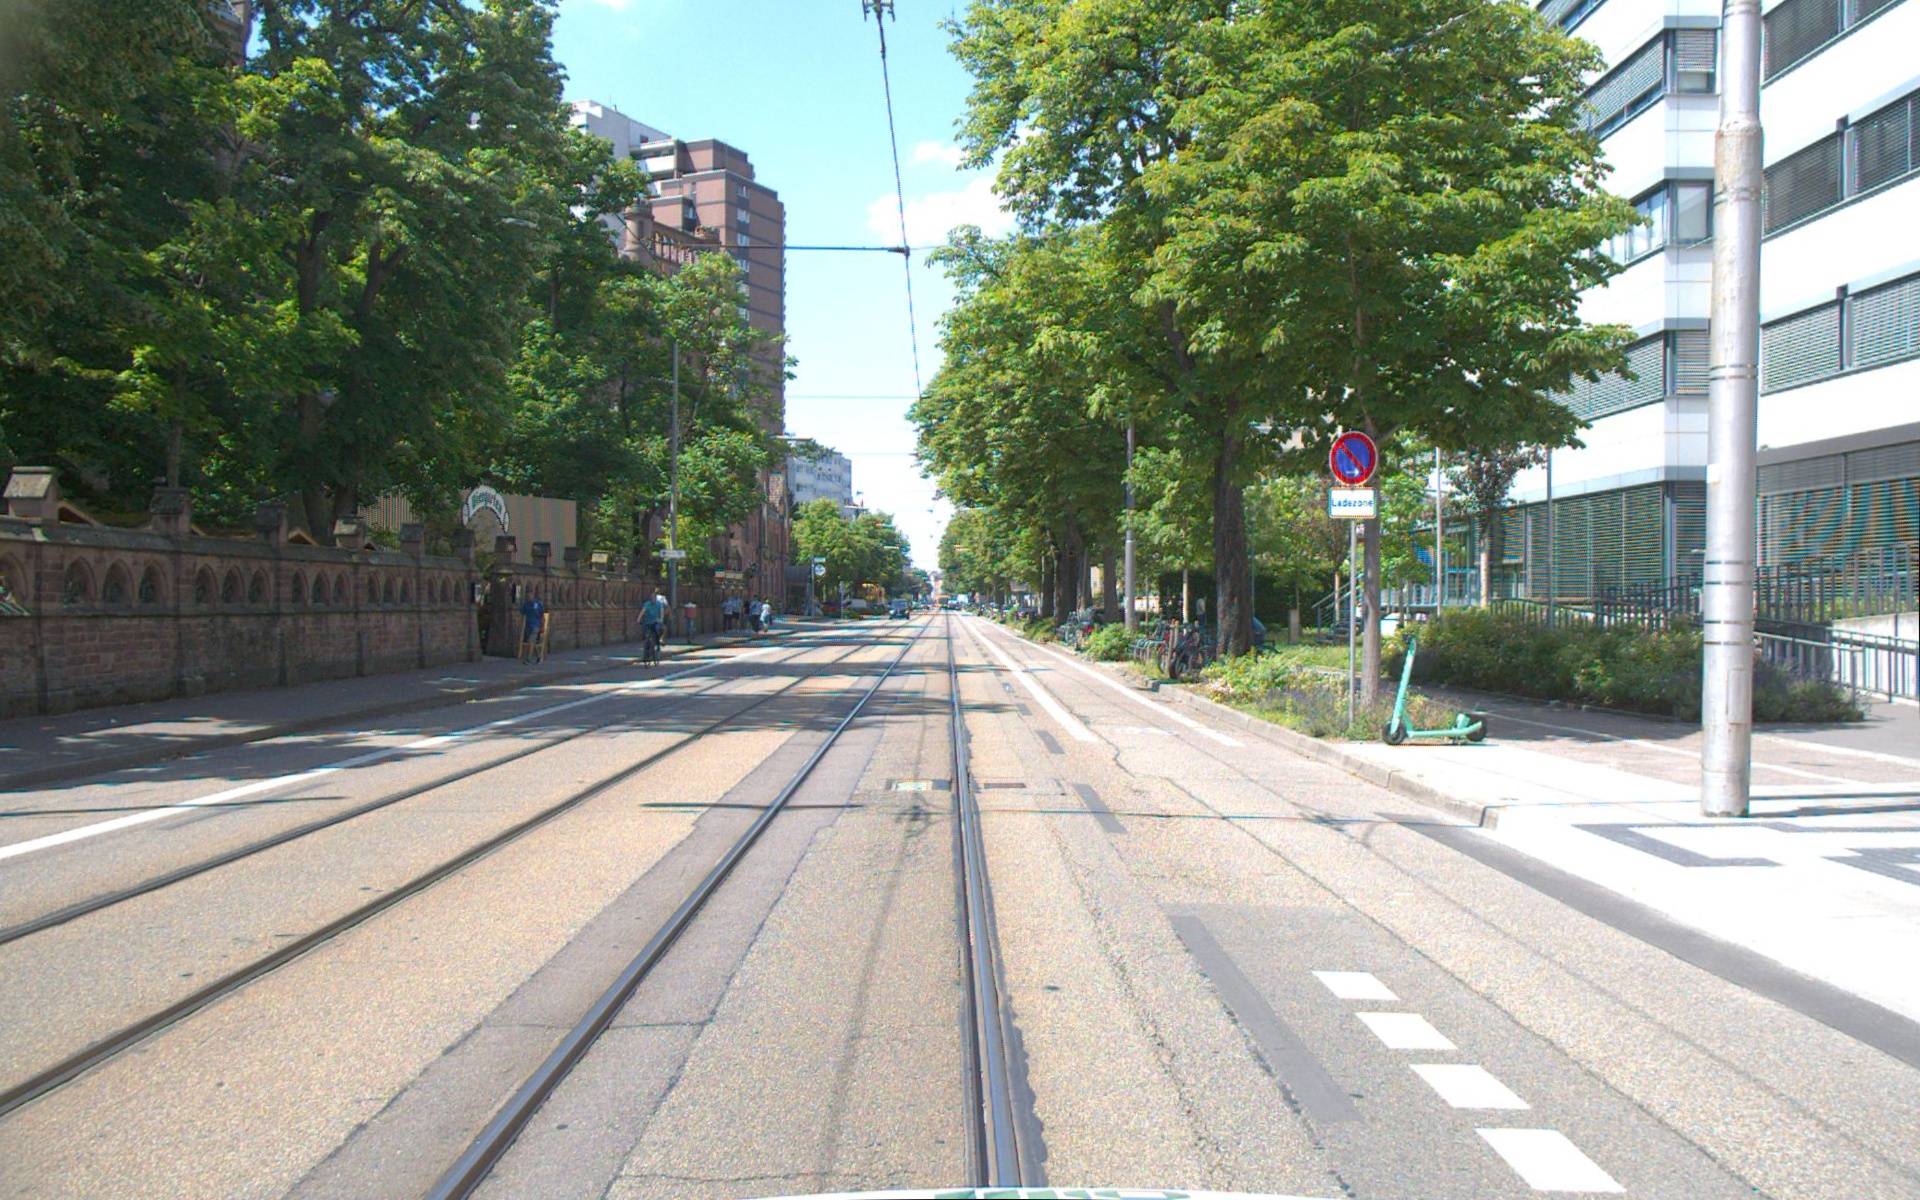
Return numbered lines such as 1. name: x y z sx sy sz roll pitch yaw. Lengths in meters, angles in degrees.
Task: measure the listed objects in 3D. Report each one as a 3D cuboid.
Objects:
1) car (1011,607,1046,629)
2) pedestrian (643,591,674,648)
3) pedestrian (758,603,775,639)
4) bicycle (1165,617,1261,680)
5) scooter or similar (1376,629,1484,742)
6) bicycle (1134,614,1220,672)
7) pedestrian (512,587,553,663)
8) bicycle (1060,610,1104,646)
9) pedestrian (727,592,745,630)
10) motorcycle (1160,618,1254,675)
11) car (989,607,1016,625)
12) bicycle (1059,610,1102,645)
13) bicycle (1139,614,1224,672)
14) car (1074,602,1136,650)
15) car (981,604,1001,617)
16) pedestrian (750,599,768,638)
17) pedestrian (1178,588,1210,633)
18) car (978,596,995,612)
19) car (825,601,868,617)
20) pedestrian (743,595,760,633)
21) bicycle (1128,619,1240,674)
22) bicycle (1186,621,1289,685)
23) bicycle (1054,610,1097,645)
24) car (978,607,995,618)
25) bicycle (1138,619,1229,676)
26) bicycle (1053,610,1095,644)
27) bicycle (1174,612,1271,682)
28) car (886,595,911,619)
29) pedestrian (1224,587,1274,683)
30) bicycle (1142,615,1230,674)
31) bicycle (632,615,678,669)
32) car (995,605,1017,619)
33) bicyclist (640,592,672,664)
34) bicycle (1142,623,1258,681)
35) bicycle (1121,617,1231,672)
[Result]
1. car: 4.243 1.085 103.247 1.953 1.333 3.999 0 0 -1
2. pedestrian: -9.591 0.610 52.671 0.798 1.801 0.924 0 0 -1
3. pedestrian: -9.572 1.044 81.699 0.728 1.758 0.867 0 0 -2
4. bicycle: 4.820 0.922 31.551 1.717 1.186 0.530 0 0 -4
5. scooter or similar: 5.066 0.918 17.842 1.037 1.176 0.370 -1 -1 0
6. bicycle: 4.524 0.903 34.580 1.717 1.186 0.530 0 0 -4
7. pedestrian: -10.026 0.576 38.810 0.728 1.758 0.867 0 0 -1
8. bicycle: 4.403 1.008 59.703 1.532 1.263 0.437 0 0 1
9. pedestrian: -10.610 0.509 78.206 0.728 1.758 0.867 0 0 -1
10. motorcycle: 4.945 0.927 33.133 1.787 1.130 0.598 0 0 -1
11. car: 3.179 1.222 124.461 1.953 1.333 3.999 0 0 -1
12. bicycle: 4.369 1.001 60.206 1.532 1.263 0.437 0 0 1
13. bicycle: 4.696 0.909 35.085 1.717 1.186 0.530 0 0 -4
14. car: 4.681 0.820 53.808 1.600 1.527 3.999 0 0 -1
15. car: 3.152 1.071 168.043 1.953 1.333 3.999 0 0 -1
16. pedestrian: -9.300 0.859 76.638 0.728 1.758 0.867 0 0 -1
17. pedestrian: 9.806 0.444 69.444 1.191 1.859 0.831 0 0 -4
18. car: 3.327 0.520 208.538 1.953 1.937 3.999 0 0 -1
19. car: -13.281 1.046 193.170 4.675 1.747 1.982 0 0 -28
20. pedestrian: -9.852 0.657 78.182 0.728 1.758 0.867 0 0 -1
21. bicycle: 5.014 1.040 37.174 2.458 1.231 0.622 0 0 4
22. bicycle: 5.003 0.951 29.841 1.752 1.121 0.531 0 0 -3
23. bicycle: 4.249 0.998 60.788 1.532 1.263 0.437 0 0 1
24. car: 3.173 1.540 198.869 1.953 1.333 3.999 0 0 -1
25. bicycle: 4.929 1.041 36.499 1.955 1.231 0.662 0 0 4
26. bicycle: 4.240 0.998 61.316 1.532 1.263 0.437 0 0 1
27. bicycle: 4.909 0.873 31.011 1.717 1.293 0.530 0 0 -4
28. car: -5.571 0.623 149.529 1.952 2.049 4.001 0 0 2
29. pedestrian: 5.341 0.644 30.541 0.574 1.745 0.793 0 -1 42
30. bicycle: 4.627 0.909 33.929 1.717 1.186 0.530 0 0 -4
31. bicycle: -7.337 0.992 39.897 0.686 1.225 2.240 -2 0 -1
32. car: 4.336 1.137 155.759 1.953 1.333 3.999 0 0 -1
33. bicyclist: -7.355 0.675 39.989 0.629 1.709 0.815 0 0 0
34. bicycle: 5.177 1.123 35.772 2.458 1.231 0.648 0 0 4
35. bicycle: 4.935 1.012 37.950 2.458 1.231 0.742 0 0 4
